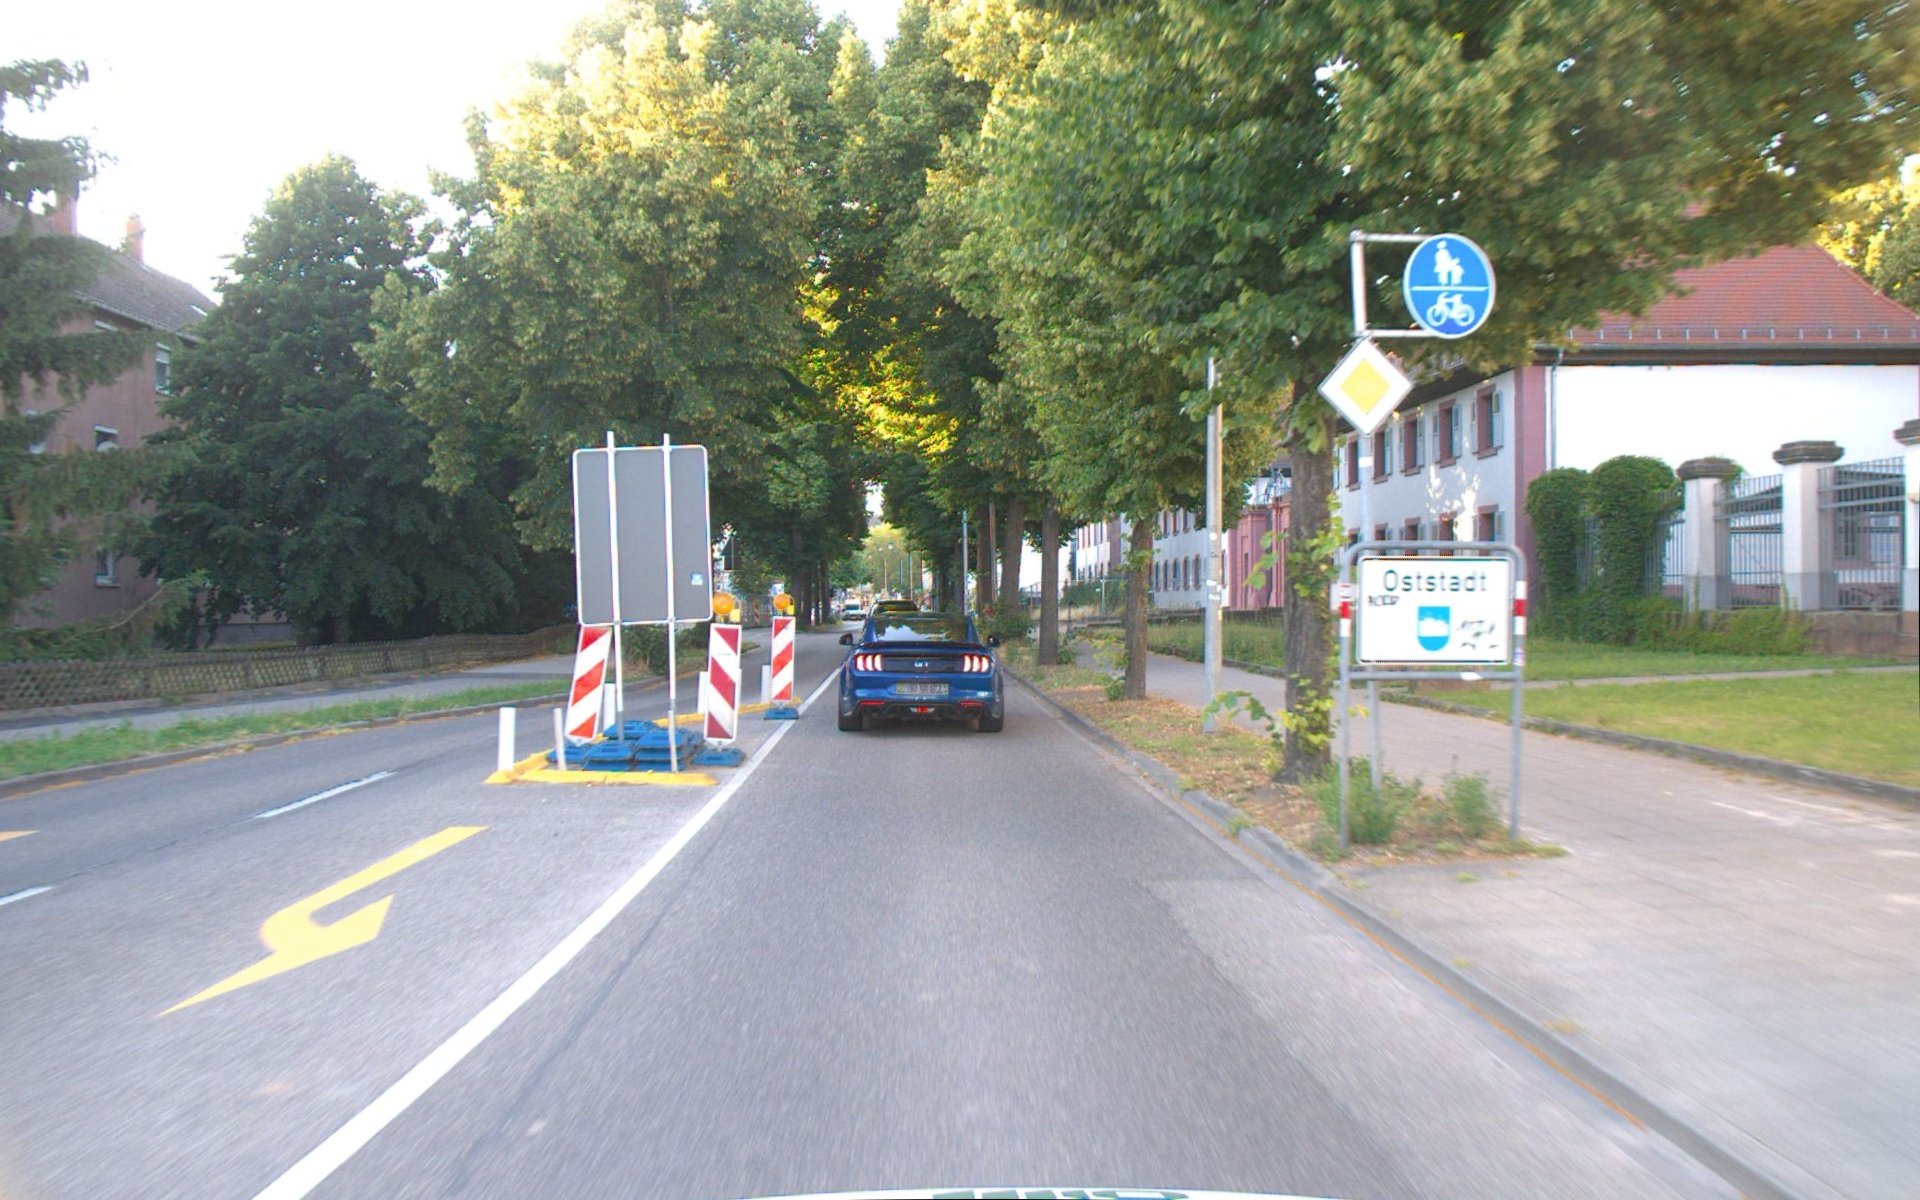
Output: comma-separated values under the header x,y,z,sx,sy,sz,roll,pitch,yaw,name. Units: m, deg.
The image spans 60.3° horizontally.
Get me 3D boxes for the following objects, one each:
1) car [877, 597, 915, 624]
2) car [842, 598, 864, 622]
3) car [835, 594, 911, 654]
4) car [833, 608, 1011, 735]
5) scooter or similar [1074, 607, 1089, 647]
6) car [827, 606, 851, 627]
x,y,z,sx,sy,sz,roll,pitch,yaw,name
-3.394,0.558,88.434,1.907,1.350,3.999,1,0,0,car
-12.765,1.168,198.193,2.442,2.744,5.827,-1,0,-3,car
-2.355,0.654,45.793,1.907,1.554,3.999,1,0,0,car
-0.490,0.784,19.873,1.908,1.350,3.998,1,0,-2,car
4.032,0.889,55.067,0.234,1.298,1.265,-1,-1,-7,scooter or similar
-13.628,1.847,186.510,2.289,2.236,5.307,-1,0,-1,car
